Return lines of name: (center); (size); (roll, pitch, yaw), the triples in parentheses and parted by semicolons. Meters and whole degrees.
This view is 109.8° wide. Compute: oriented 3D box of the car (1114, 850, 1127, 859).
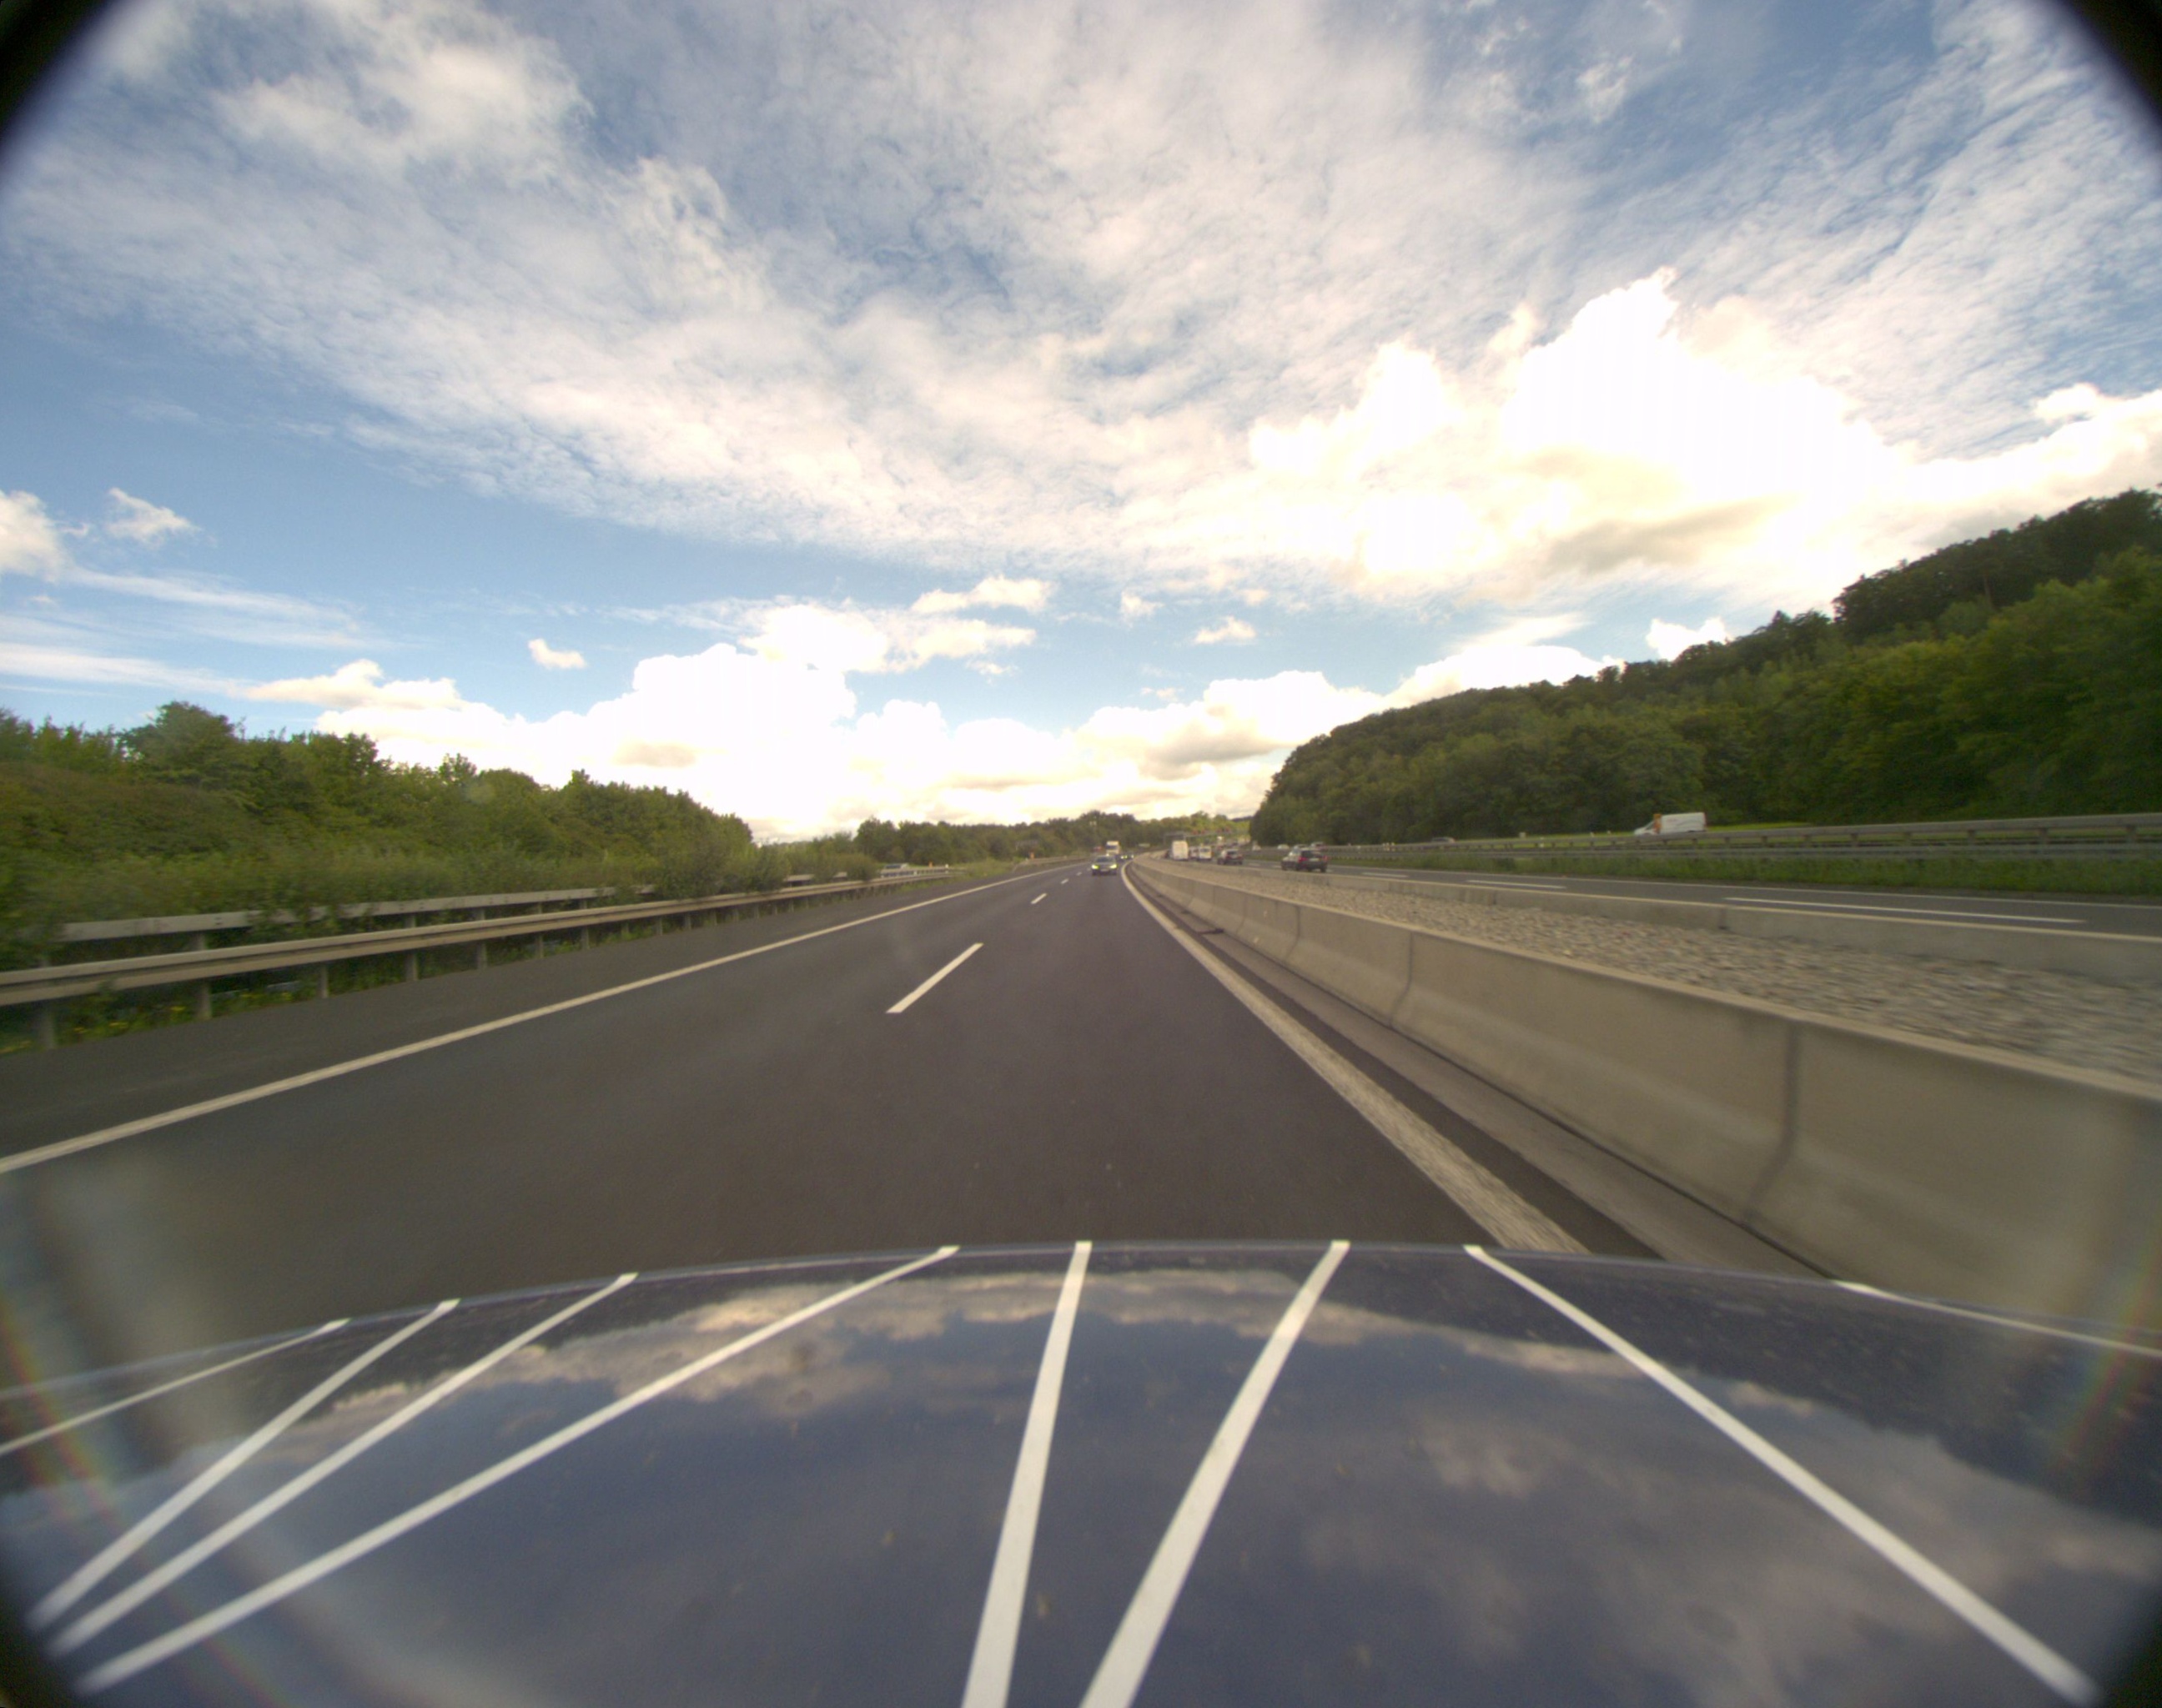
car: (6.969, 0.005, 132.984); (1.998, 1.464, 4.001); (-2, 0, 5)

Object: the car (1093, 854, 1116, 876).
car: (1.831, 0.788, 58.182); (1.662, 1.464, 4.000); (-3, 1, 3)

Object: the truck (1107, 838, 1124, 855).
truck: (8.100, -1.868, 175.746); (2.795, 3.563, 11.460); (-2, 2, 8)

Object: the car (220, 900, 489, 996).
car: (-16.295, 2.028, 17.440); (1.788, 1.562, 4.344); (-3, 1, 3)

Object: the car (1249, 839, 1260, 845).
car: (40.741, -2.829, 178.495); (1.787, 1.423, 4.625); (-3, 0, 1)

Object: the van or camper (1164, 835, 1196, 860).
van or camper: (12.510, -0.807, 96.273); (3.343, 2.899, 7.467); (-2, 0, 3)

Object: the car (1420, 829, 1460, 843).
car: (41.775, -2.078, 88.461); (1.732, 1.442, 4.298); (-3, 0, -18)

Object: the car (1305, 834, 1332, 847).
car: (36.402, -2.023, 116.634); (2.399, 1.761, 5.243); (-3, 0, 1)

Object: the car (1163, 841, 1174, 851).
car: (17.088, -1.529, 148.259); (1.998, 1.909, 5.150); (-3, 0, 5)

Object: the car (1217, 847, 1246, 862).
car: (15.085, 0.061, 76.470); (1.888, 1.413, 5.236); (-1, 0, 1)

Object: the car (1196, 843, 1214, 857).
car: (17.446, -0.618, 107.083); (1.918, 1.895, 5.287); (-2, 0, 2)

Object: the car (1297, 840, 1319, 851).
car: (28.315, -1.062, 94.837); (1.642, 1.312, 3.757); (-3, 0, 1)

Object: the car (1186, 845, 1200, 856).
car: (19.304, -0.650, 131.046); (1.998, 1.804, 4.242); (-3, 0, 4)

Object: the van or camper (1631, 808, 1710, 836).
van or camper: (55.865, -3.026, 72.157); (5.717, 2.236, 2.110); (-3, 1, 34)

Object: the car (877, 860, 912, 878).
car: (-17.808, 1.405, 72.711); (1.787, 1.562, 4.345); (-3, 1, 6)

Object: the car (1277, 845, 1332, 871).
car: (13.456, 0.226, 46.023); (1.789, 1.409, 4.996); (-3, 0, 0)

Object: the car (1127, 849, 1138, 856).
car: (11.197, -0.356, 165.605); (1.997, 1.464, 4.001); (-3, 1, 7)

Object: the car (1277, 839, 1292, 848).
car: (39.235, -2.065, 146.696); (1.940, 1.662, 5.225); (-3, 0, 5)
